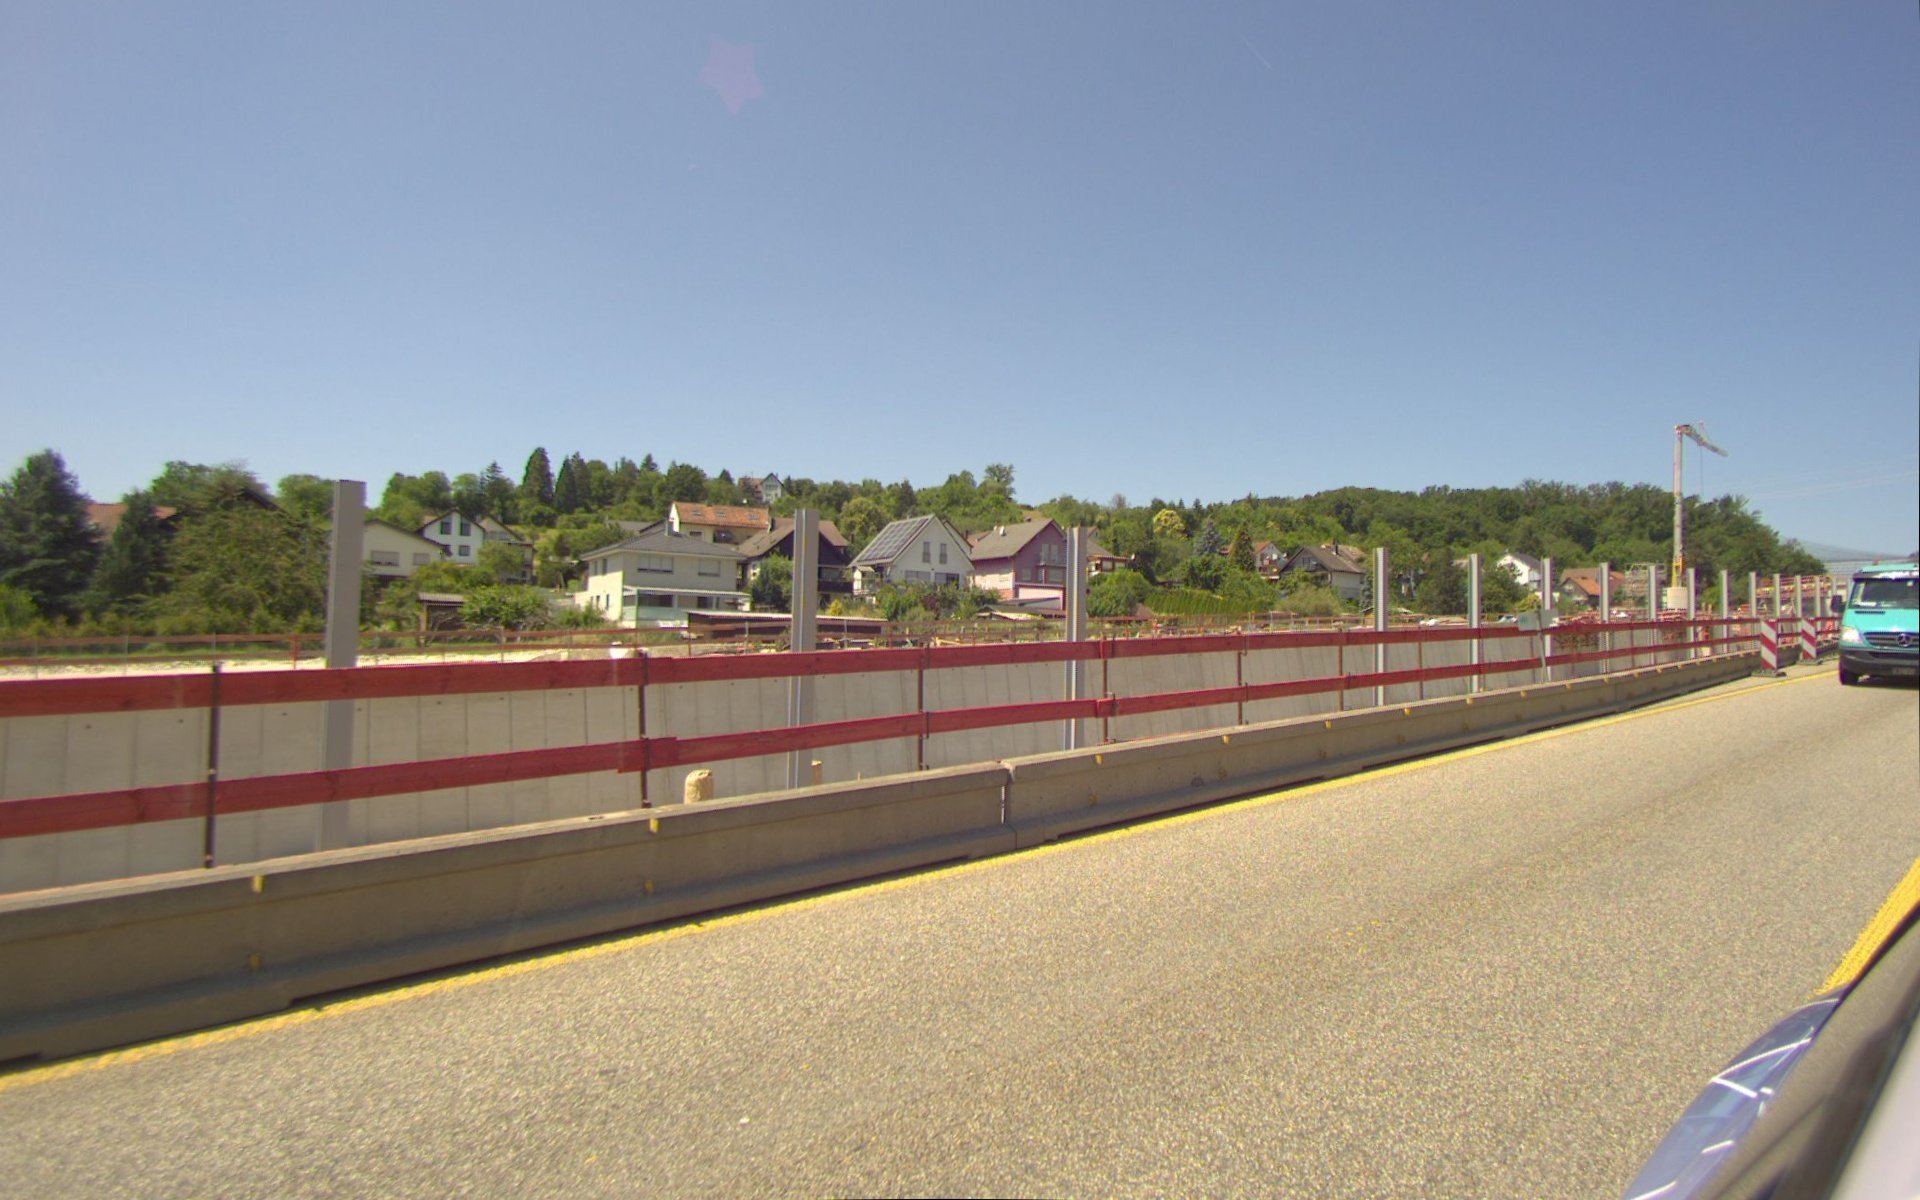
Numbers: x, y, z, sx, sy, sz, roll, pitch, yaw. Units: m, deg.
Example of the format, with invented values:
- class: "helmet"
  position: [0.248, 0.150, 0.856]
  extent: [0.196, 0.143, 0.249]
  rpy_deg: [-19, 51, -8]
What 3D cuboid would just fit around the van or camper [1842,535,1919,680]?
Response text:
- class: "van or camper"
  position: [19.495, 0.154, 19.995]
  extent: [7.536, 2.504, 2.096]
  rpy_deg: [1, -1, -41]
